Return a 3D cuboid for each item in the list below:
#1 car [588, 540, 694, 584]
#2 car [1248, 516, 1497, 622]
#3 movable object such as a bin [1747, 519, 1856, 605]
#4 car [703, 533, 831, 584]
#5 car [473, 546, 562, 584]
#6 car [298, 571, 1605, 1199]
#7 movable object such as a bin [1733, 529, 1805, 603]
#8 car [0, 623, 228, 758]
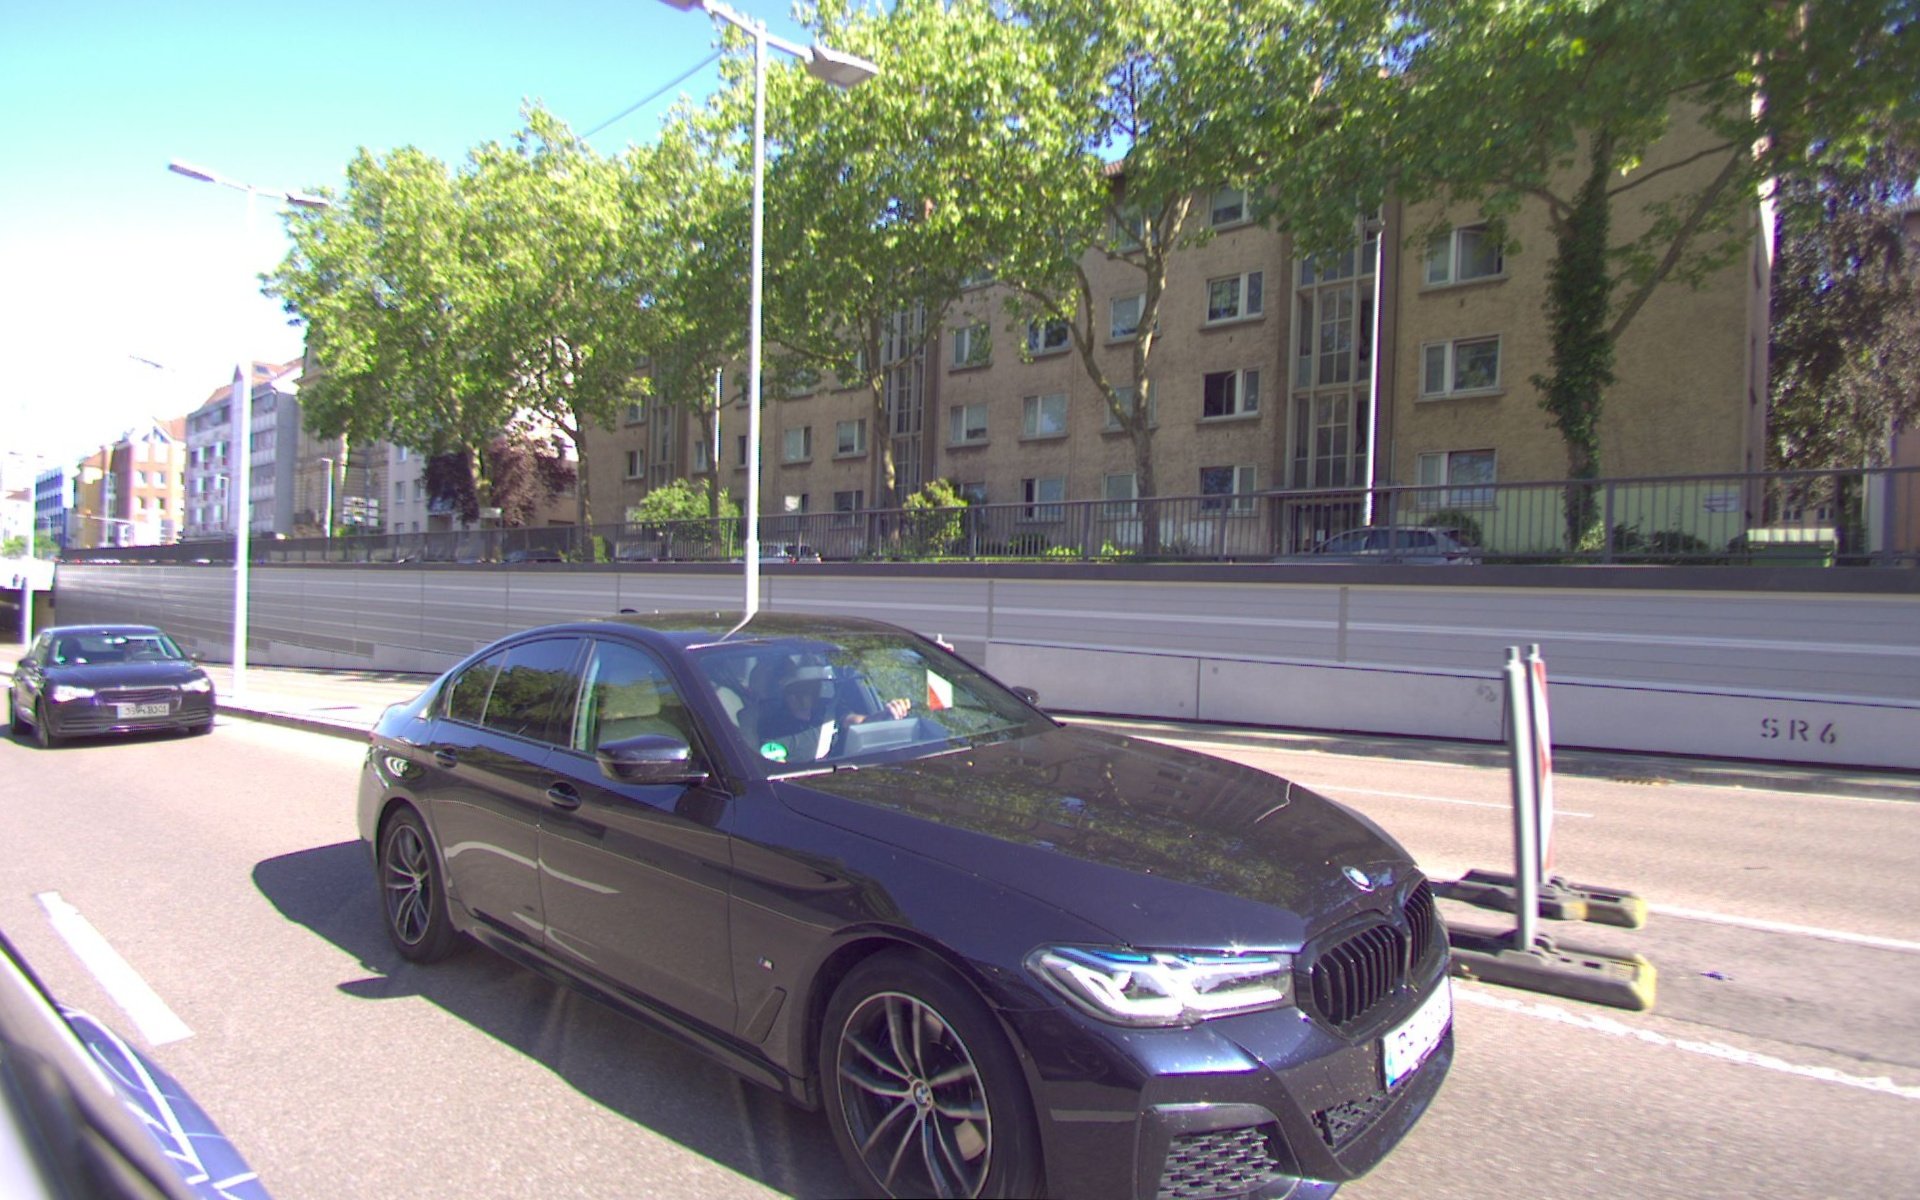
[{"bbox_3d":[-12.402,-1.428,39.231,4.299,1.596,1.902,1,1,39],"label":"car"},{"bbox_3d":[8.482,-0.614,21.030,4.411,1.975,1.945,1,1,41],"label":"car"},{"bbox_3d":[15.168,-0.666,18.300,1.354,1.495,1.196,1,1,33],"label":"movable object such as a bin"},{"bbox_3d":[-6.512,-1.348,33.888,4.299,1.596,1.902,1,1,39],"label":"car"},{"bbox_3d":[-19.782,-1.520,45.170,4.299,1.596,1.902,1,1,39],"label":"car"},{"bbox_3d":[-0.637,0.732,3.841,4.998,1.450,1.790,-2,-1,40],"label":"car"},{"bbox_3d":[17.086,-0.701,21.402,1.146,1.495,1.301,1,1,38],"label":"movable object such as a bin"},{"bbox_3d":[-10.940,1.050,12.939,3.885,1.429,1.678,-2,-1,40],"label":"car"}]
